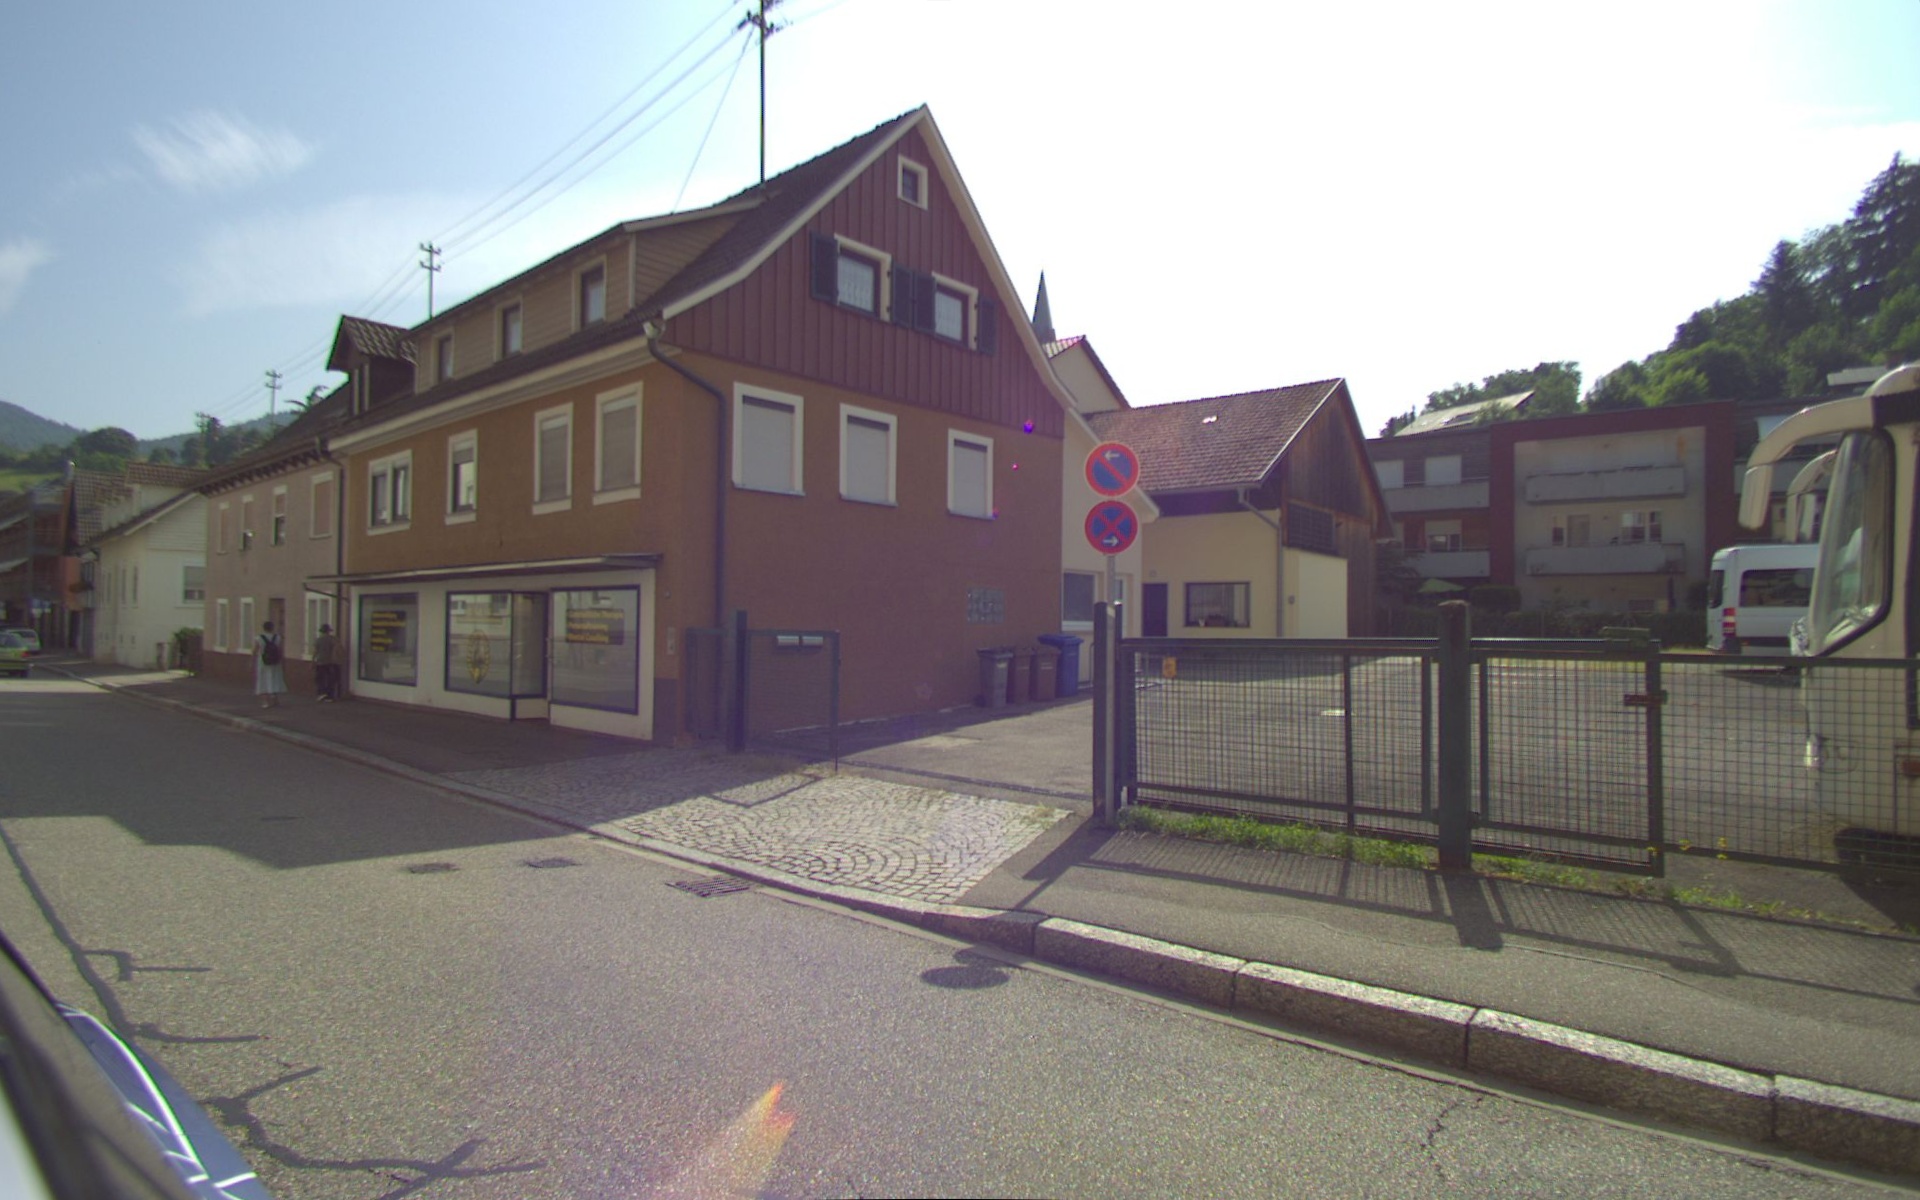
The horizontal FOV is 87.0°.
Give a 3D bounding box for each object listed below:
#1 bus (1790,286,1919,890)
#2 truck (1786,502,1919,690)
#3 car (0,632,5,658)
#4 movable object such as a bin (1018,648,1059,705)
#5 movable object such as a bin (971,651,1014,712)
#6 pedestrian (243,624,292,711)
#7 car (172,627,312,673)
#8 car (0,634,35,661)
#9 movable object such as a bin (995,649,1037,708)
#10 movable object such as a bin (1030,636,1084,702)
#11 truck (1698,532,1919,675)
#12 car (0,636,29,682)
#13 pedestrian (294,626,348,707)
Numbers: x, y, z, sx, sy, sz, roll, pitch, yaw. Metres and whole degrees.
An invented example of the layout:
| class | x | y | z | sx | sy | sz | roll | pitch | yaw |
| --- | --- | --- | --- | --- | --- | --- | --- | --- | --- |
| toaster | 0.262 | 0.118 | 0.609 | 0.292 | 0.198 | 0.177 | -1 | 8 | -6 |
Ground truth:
| class | x | y | z | sx | sy | sz | roll | pitch | yaw |
| --- | --- | --- | --- | --- | --- | --- | --- | --- | --- |
| bus | 9.118 | -0.153 | 3.932 | 9.028 | 3.253 | 2.792 | -2 | -1 | 40 |
| truck | 17.672 | -0.123 | 16.797 | 5.719 | 3.082 | 2.389 | -2 | -1 | 31 |
| car | -61.611 | 2.828 | 63.798 | 3.947 | 1.602 | 1.657 | -2 | -2 | 41 |
| movable object such as a bin | 1.331 | 1.282 | 17.087 | 0.486 | 0.929 | 0.472 | -2 | -1 | 42 |
| movable object such as a bin | 0.527 | 1.296 | 16.275 | 0.486 | 0.929 | 0.472 | -2 | -1 | 42 |
| pedestrian | -13.487 | 1.297 | 19.704 | 0.777 | 1.638 | 0.632 | -2 | -1 | 44 |
| car | -26.862 | 1.829 | 37.949 | 1.906 | 1.606 | 3.946 | -2 | -1 | 40 |
| car | -52.941 | 2.645 | 56.510 | 3.568 | 1.443 | 1.648 | -3 | -2 | 43 |
| movable object such as a bin | 0.925 | 1.293 | 16.745 | 0.486 | 0.929 | 0.472 | -2 | -1 | 42 |
| movable object such as a bin | 1.688 | 1.192 | 17.619 | 0.744 | 1.102 | 0.537 | -2 | -1 | 42 |
| truck | 17.548 | 0.092 | 20.363 | 4.065 | 2.672 | 1.939 | -3 | 0 | 31 |
| car | -32.294 | 1.900 | 33.474 | 3.656 | 1.475 | 1.581 | -1 | -6 | 39 |
| pedestrian | -12.988 | 1.333 | 20.559 | 0.824 | 1.576 | 0.727 | -2 | -1 | 43 |
